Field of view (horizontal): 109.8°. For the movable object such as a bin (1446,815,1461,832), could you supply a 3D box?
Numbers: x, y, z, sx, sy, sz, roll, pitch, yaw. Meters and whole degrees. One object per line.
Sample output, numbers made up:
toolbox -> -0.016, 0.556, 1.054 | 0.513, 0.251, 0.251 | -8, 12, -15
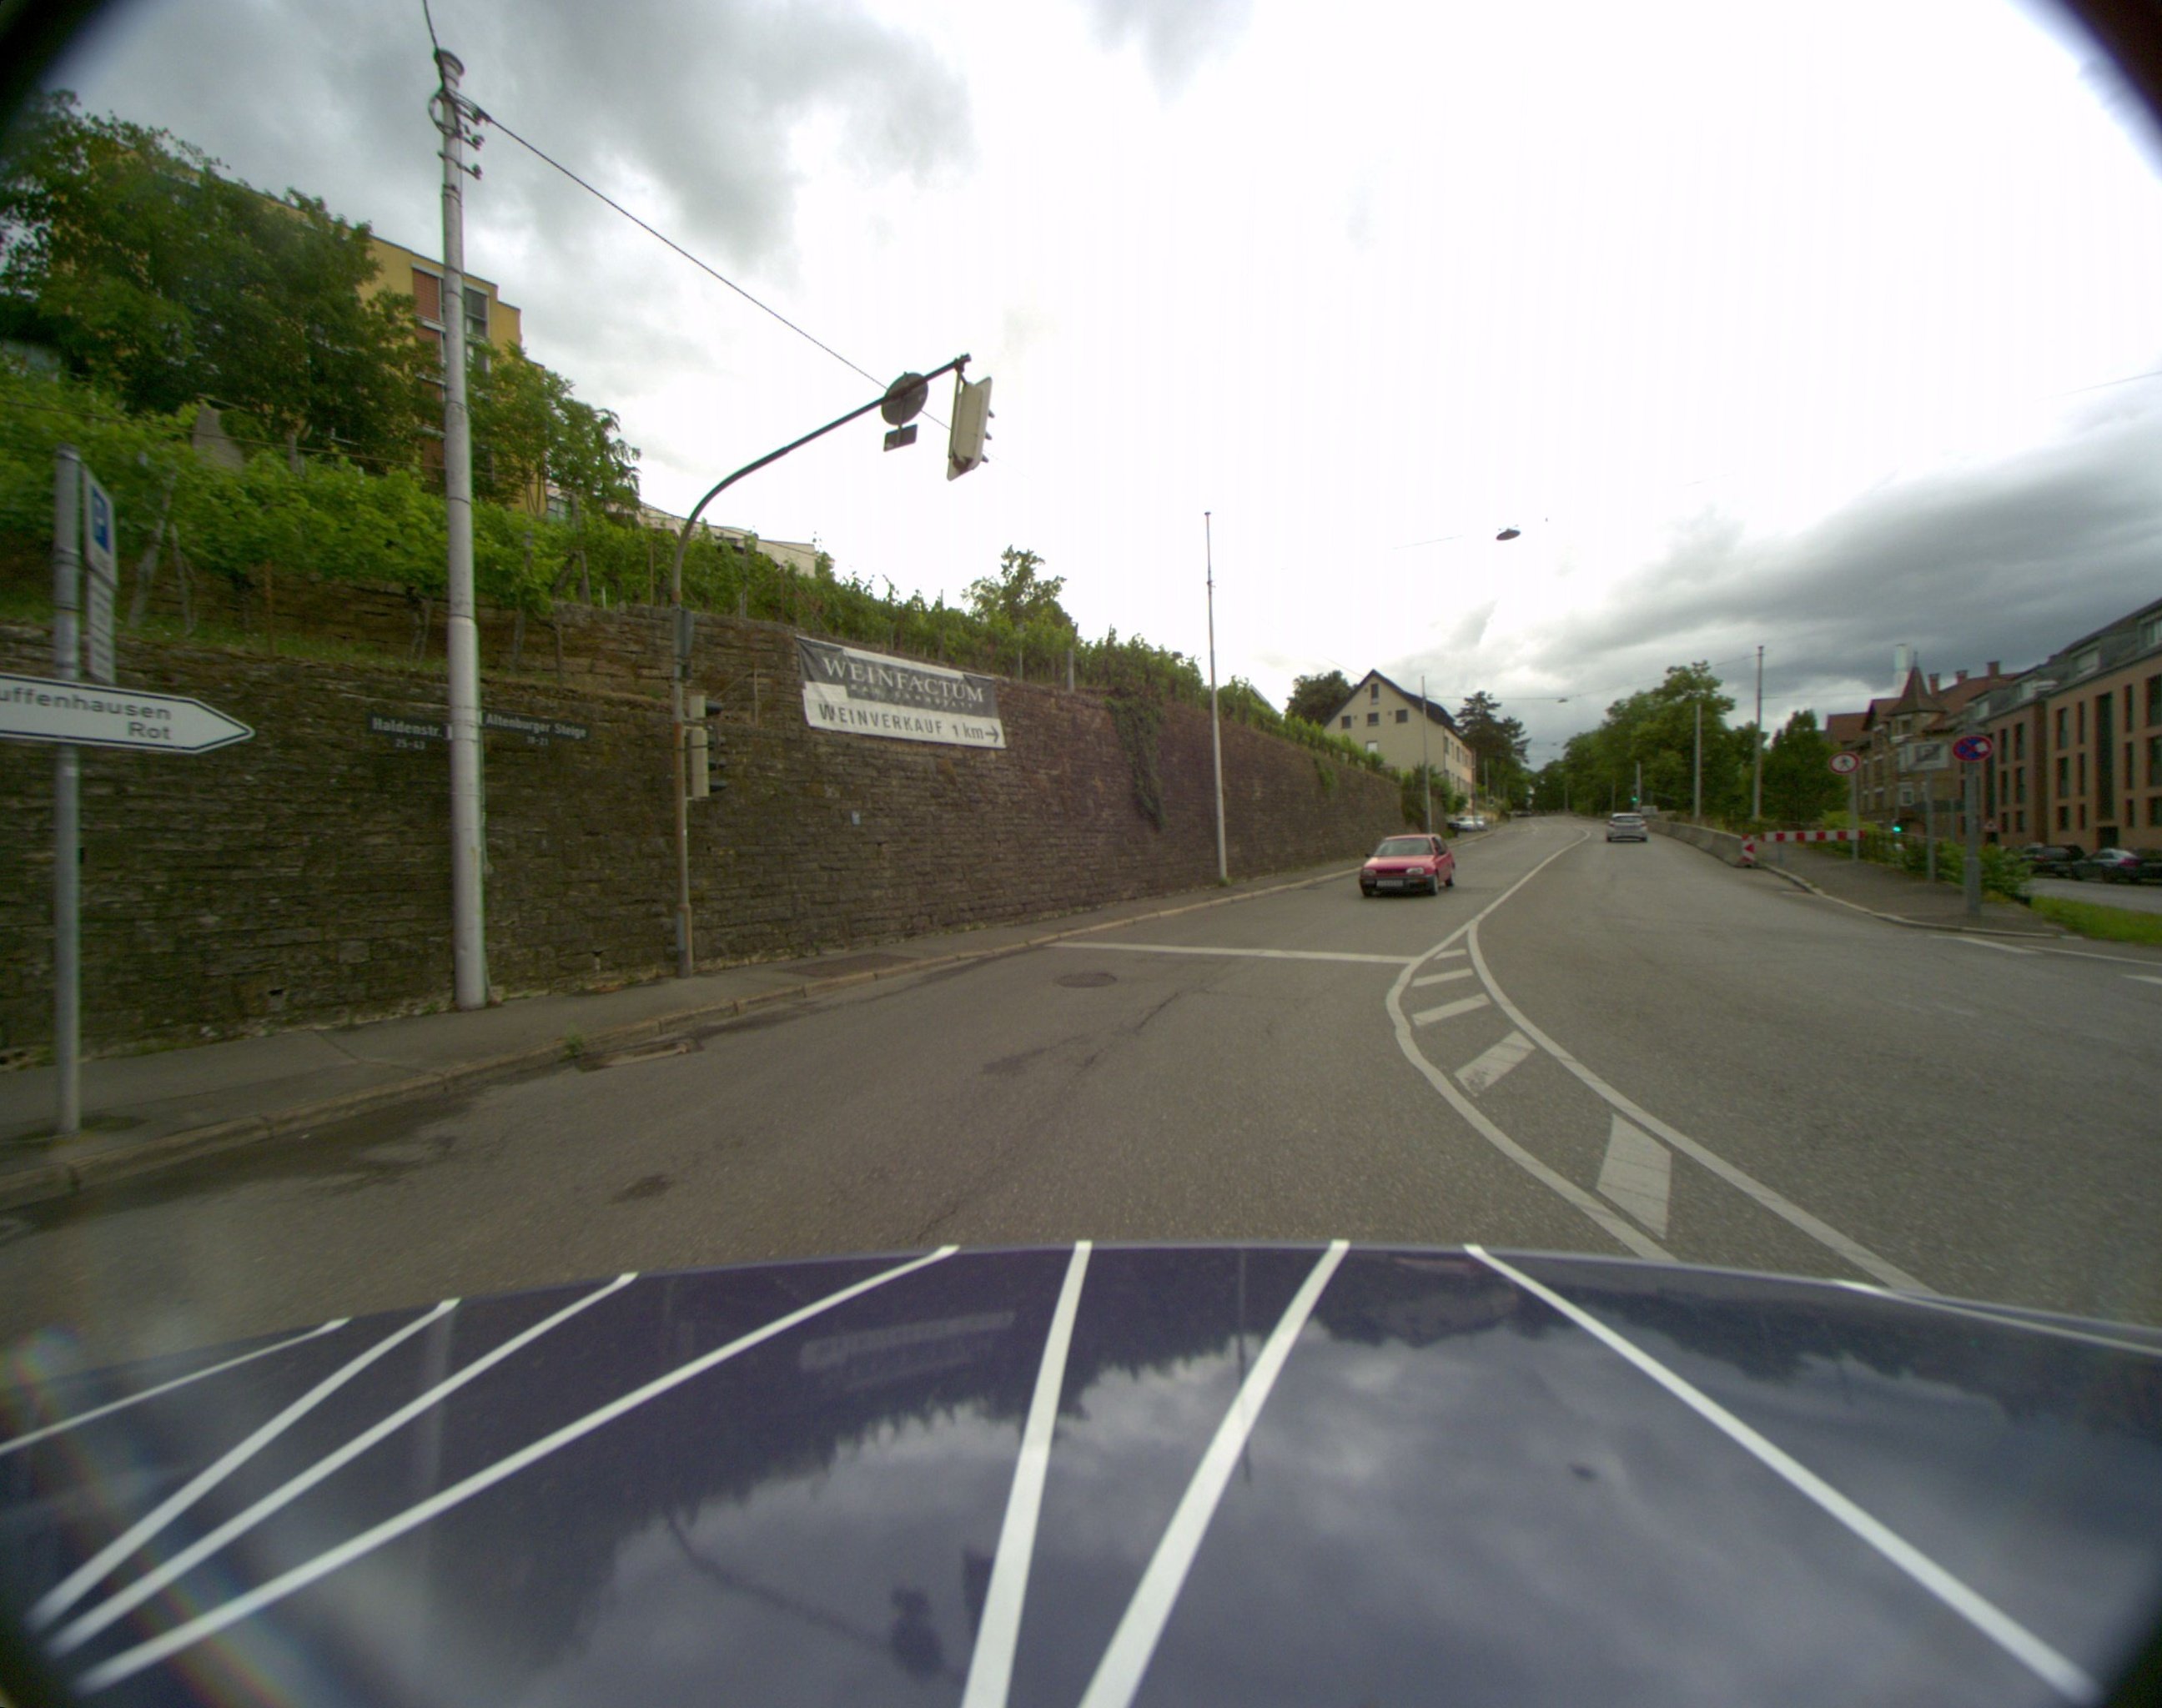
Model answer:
movable object such as a bin -> 25.819, -2.136, 52.627 | 0.809, 1.120, 0.876 | -1, 3, 34

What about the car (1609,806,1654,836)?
car -> 28.613, -1.680, 39.585 | 1.670, 1.459, 3.650 | 1, 2, 32

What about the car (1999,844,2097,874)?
car -> 47.008, 0.195, 37.059 | 1.994, 1.303, 4.008 | 2, 2, 38

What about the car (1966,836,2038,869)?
car -> 50.214, -0.092, 41.503 | 1.705, 1.492, 3.650 | -2, 3, 38

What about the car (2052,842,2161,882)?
car -> 42.564, 0.274, 31.354 | 1.994, 1.478, 4.007 | 1, 3, 36

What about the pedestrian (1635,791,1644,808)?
pedestrian -> 56.601, -5.518, 76.972 | 0.733, 1.703, 0.697 | -1, 3, 38

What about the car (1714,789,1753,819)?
car -> 62.885, -4.830, 73.339 | 2.560, 2.567, 5.744 | -2, 3, 38

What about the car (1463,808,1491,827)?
car -> 37.197, -3.422, 71.322 | 1.728, 1.566, 4.255 | -2, 3, 35

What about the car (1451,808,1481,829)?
car -> 33.994, -3.149, 67.060 | 1.795, 1.566, 4.062 | -2, 3, 35

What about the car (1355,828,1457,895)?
car -> 8.144, 0.124, 18.851 | 1.643, 1.430, 4.007 | -1, 2, 33
